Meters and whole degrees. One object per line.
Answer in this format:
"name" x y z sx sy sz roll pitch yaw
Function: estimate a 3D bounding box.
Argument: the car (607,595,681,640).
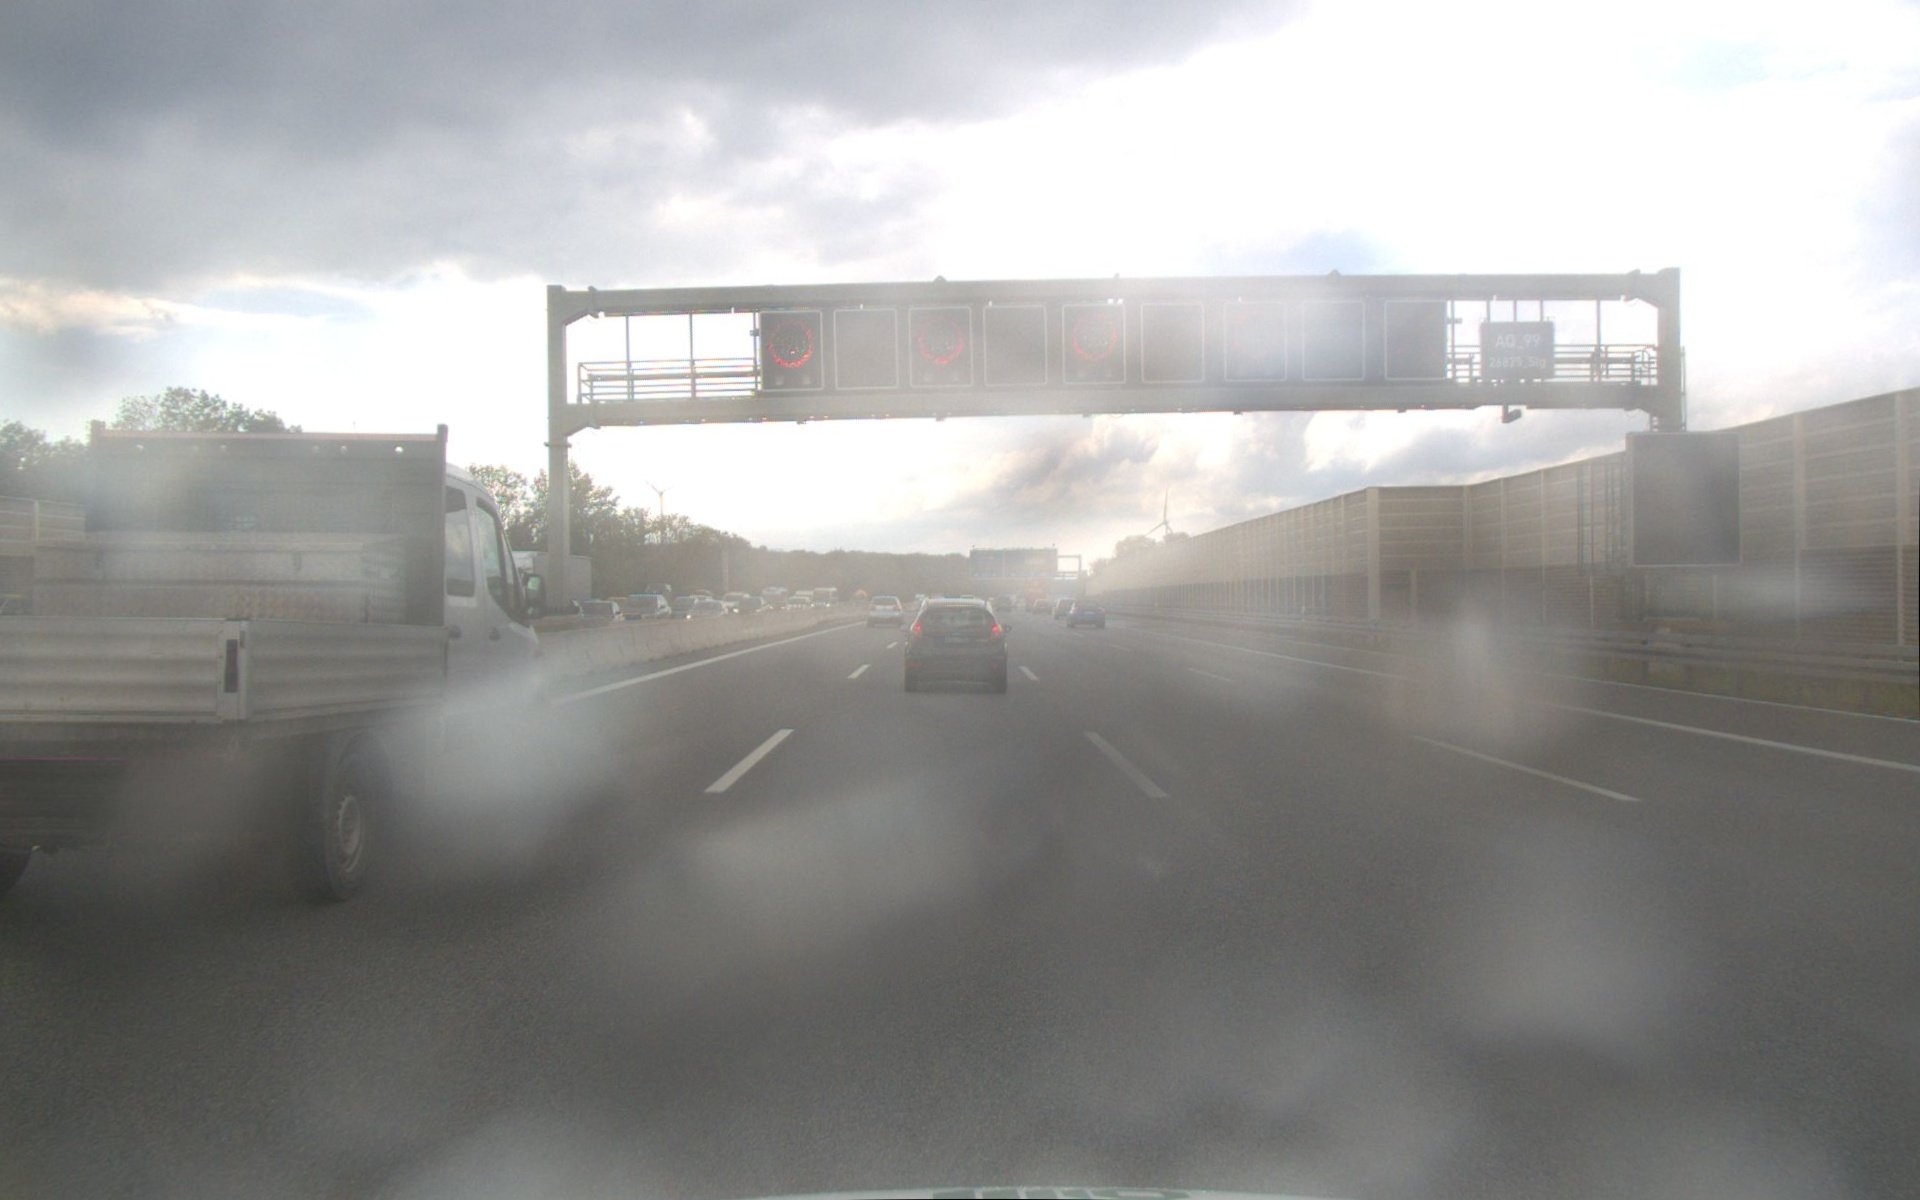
"car" -13.977 0.768 73.449 2.018 1.913 6.328 0 0 0

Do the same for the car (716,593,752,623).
"car" -17.837 0.617 130.816 2.018 2.275 5.894 0 0 0

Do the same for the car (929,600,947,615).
"car" -2.445 0.859 183.890 1.927 1.588 4.433 -1 -1 0

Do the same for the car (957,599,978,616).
"car" 0.729 0.749 160.619 1.927 1.588 4.433 -1 -1 0

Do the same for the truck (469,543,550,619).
"truck" -25.285 -1.052 93.108 2.911 4.105 5.726 0 0 0

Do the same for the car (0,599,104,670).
"car" -21.424 0.744 36.891 2.018 1.517 4.997 0 0 0

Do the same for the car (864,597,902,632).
"car" -3.766 0.678 81.544 1.682 1.652 4.278 0 1 0

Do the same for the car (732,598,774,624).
"car" -13.507 0.696 108.137 2.018 1.674 5.380 0 0 0

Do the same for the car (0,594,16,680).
"car" -18.084 0.654 27.377 2.018 1.517 4.997 0 0 0

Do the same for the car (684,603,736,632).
"car" -13.865 0.946 91.932 2.018 1.561 5.470 0 0 0

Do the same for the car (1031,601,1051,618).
"car" 7.982 0.963 163.014 1.844 1.588 4.433 -1 -1 0

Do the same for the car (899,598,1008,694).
"car" -0.113 0.702 27.527 1.682 1.441 4.278 0 1 0

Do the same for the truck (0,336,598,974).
"truck" -3.990 0.183 10.003 2.260 2.482 7.145 0 0 -2

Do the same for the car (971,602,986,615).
"car" 2.512 1.163 224.763 1.928 1.588 4.432 -1 -1 -1

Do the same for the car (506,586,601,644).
"car" -14.050 0.514 57.421 2.018 1.913 4.997 0 0 0

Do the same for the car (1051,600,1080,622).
"car" 7.839 0.836 123.064 1.844 1.569 4.433 -1 -1 0

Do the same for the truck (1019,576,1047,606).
"truck" 9.235 -1.164 210.176 3.088 3.664 12.700 1 0 0

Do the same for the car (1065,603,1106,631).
"car" 6.567 0.873 86.719 1.909 1.443 4.232 0 0 1

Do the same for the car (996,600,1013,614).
"car" 5.449 0.860 203.592 1.927 1.588 4.433 -1 -1 0
